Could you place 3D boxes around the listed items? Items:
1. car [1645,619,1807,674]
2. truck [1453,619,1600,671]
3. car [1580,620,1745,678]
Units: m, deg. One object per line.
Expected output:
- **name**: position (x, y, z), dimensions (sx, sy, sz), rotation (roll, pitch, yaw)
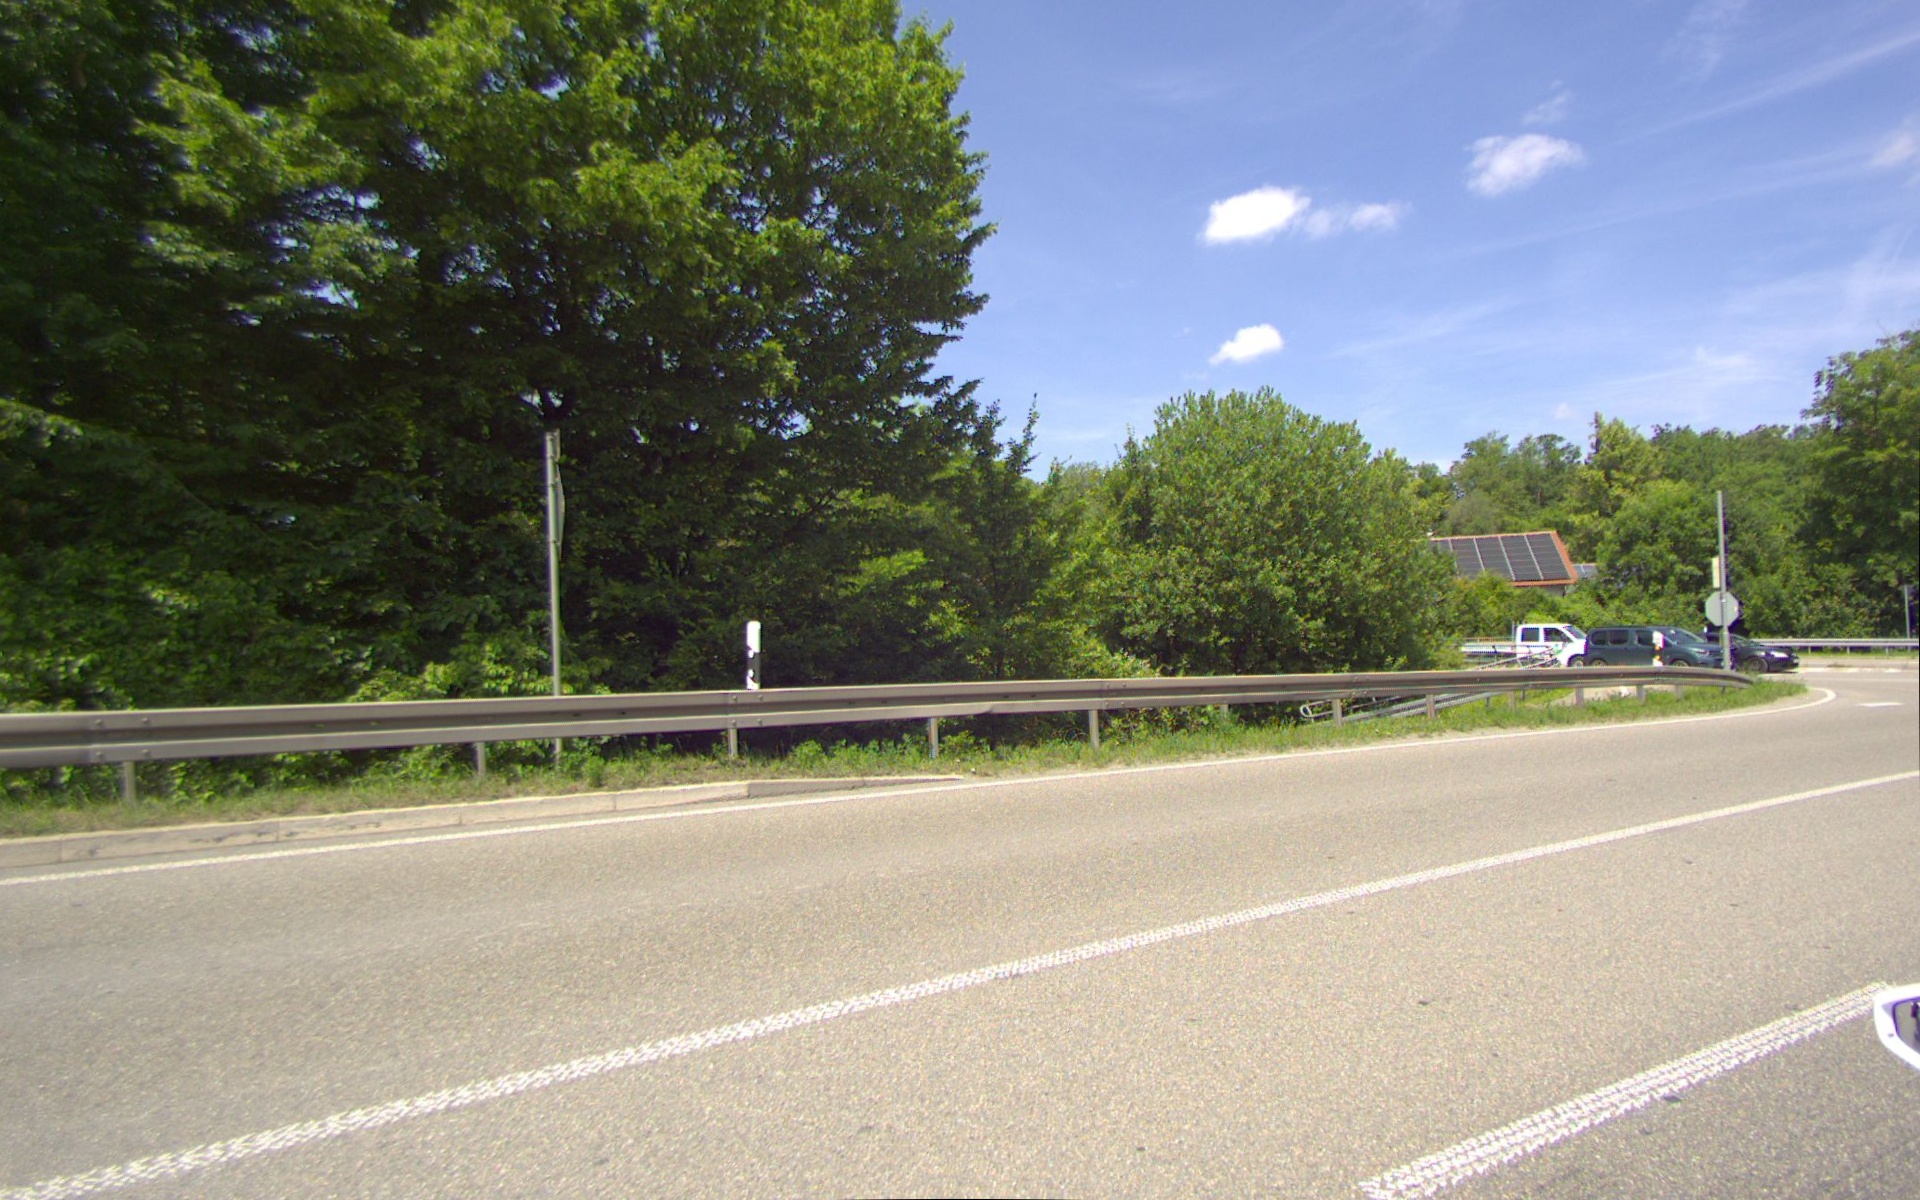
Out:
- **car**: position (27.231, 1.618, 35.865), dimensions (1.969, 1.793, 4.229), rotation (1, -1, -19)
- **truck**: position (23.162, 1.818, 41.226), dimensions (2.028, 1.815, 4.833), rotation (3, -1, -41)
- **car**: position (23.619, 1.600, 33.963), dimensions (1.969, 1.793, 4.229), rotation (1, -1, -19)
